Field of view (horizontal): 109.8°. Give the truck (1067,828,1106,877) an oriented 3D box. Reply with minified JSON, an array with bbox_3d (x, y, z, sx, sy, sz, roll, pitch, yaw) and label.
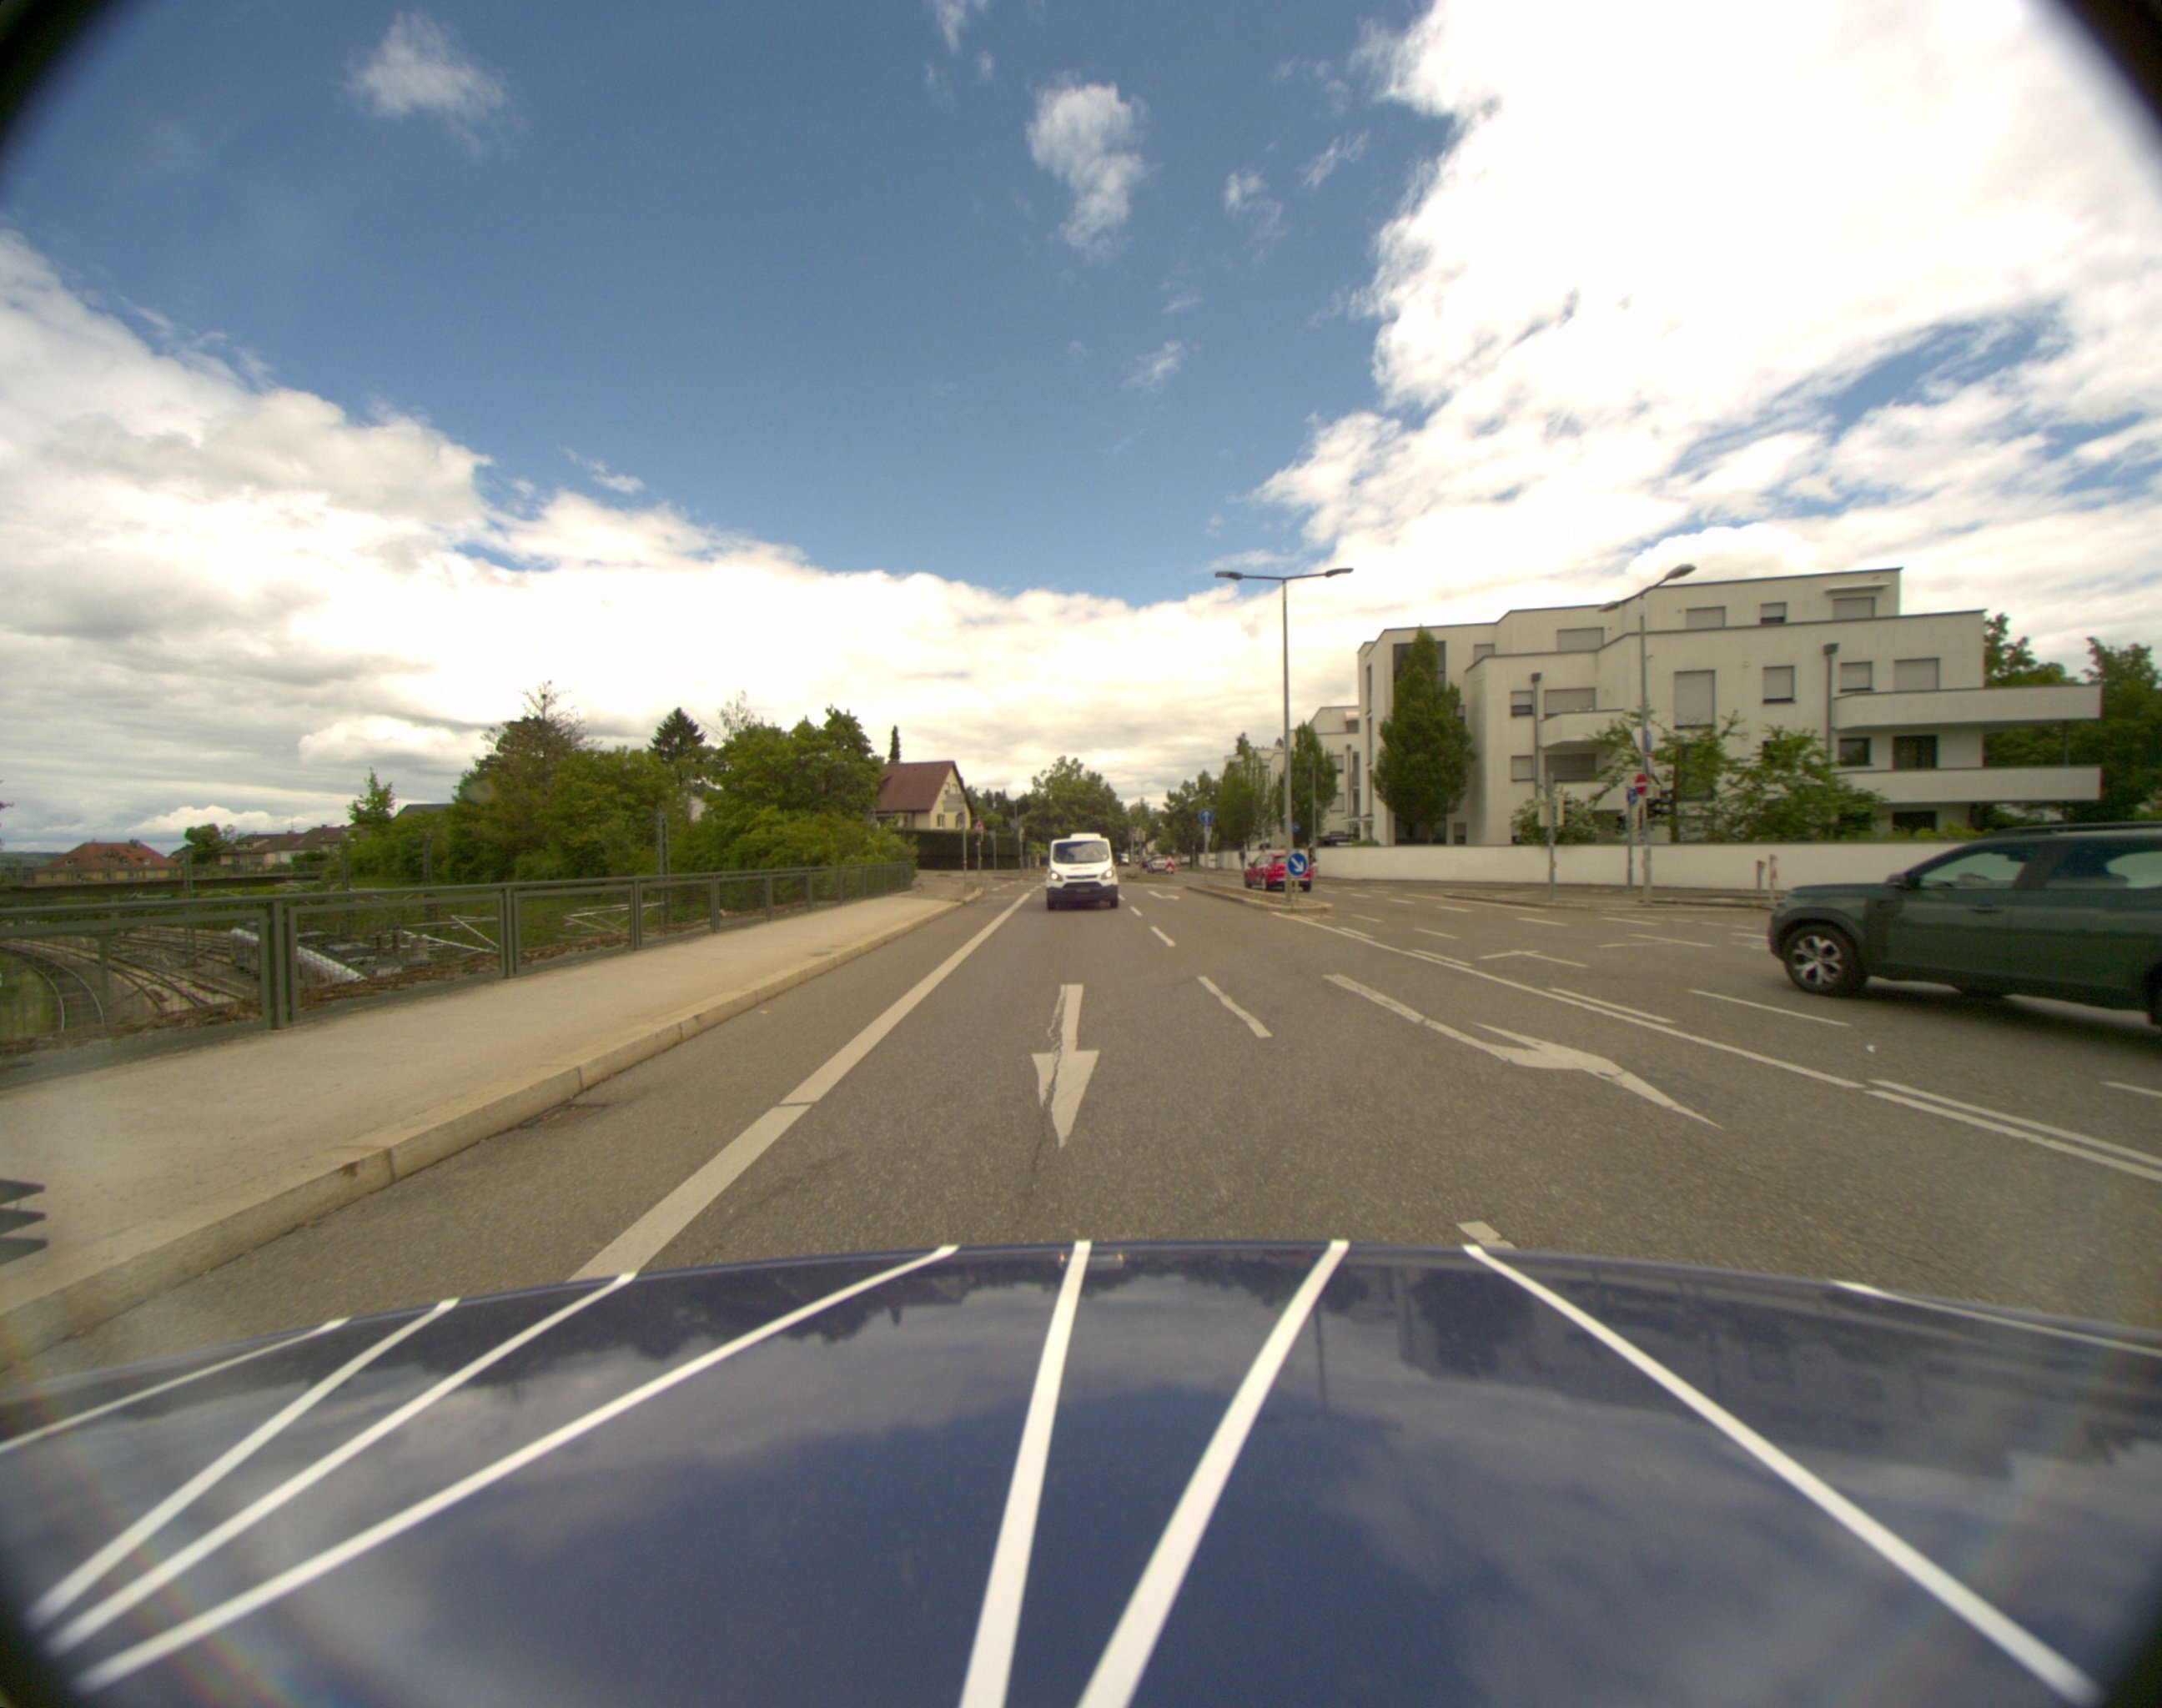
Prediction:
[{"bbox_3d":[0.302,-0.090,43.467,2.036,2.555,6.057,0,0,0],"label":"truck"}]

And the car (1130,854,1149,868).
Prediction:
[{"bbox_3d":[6.259,0.722,81.548,1.725,1.383,3.917,1,1,0],"label":"car"}]

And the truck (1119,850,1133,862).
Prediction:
[{"bbox_3d":[6.641,0.280,112.311,1.614,1.780,4.003,0,0,10],"label":"truck"}]

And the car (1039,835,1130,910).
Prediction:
[{"bbox_3d":[0.275,0.505,23.727,2.074,1.956,5.560,-3,0,7],"label":"car"}]

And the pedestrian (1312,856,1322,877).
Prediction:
[{"bbox_3d":[12.265,0.664,39.500,0.326,1.056,0.444,-5,1,-1],"label":"pedestrian"}]

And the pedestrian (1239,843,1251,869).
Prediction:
[{"bbox_3d":[12.558,0.135,58.142,0.650,1.937,0.871,-3,1,0],"label":"pedestrian"}]

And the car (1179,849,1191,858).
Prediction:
[{"bbox_3d":[19.000,-0.036,139.091,1.915,1.643,4.004,0,0,13],"label":"car"}]

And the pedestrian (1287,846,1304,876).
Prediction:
[{"bbox_3d":[11.534,0.367,40.829,0.533,1.534,0.731,-5,1,-2],"label":"pedestrian"}]

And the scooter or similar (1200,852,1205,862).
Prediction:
[{"bbox_3d":[15.398,0.363,96.155,0.434,1.159,1.328,-3,0,6],"label":"scooter or similar"}]

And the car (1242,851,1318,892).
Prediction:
[{"bbox_3d":[7.539,0.625,29.123,1.725,1.439,4.065,0,1,-2],"label":"car"}]

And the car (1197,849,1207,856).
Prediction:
[{"bbox_3d":[26.304,-0.379,165.463,1.888,1.606,4.004,0,0,13],"label":"car"}]

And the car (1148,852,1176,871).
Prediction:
[{"bbox_3d":[6.300,0.578,59.436,1.647,1.401,3.817,0,1,-3],"label":"car"}]

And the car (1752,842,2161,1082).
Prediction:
[{"bbox_3d":[8.160,0.727,6.011,1.828,1.617,4.278,0,0,-2],"label":"car"}]
